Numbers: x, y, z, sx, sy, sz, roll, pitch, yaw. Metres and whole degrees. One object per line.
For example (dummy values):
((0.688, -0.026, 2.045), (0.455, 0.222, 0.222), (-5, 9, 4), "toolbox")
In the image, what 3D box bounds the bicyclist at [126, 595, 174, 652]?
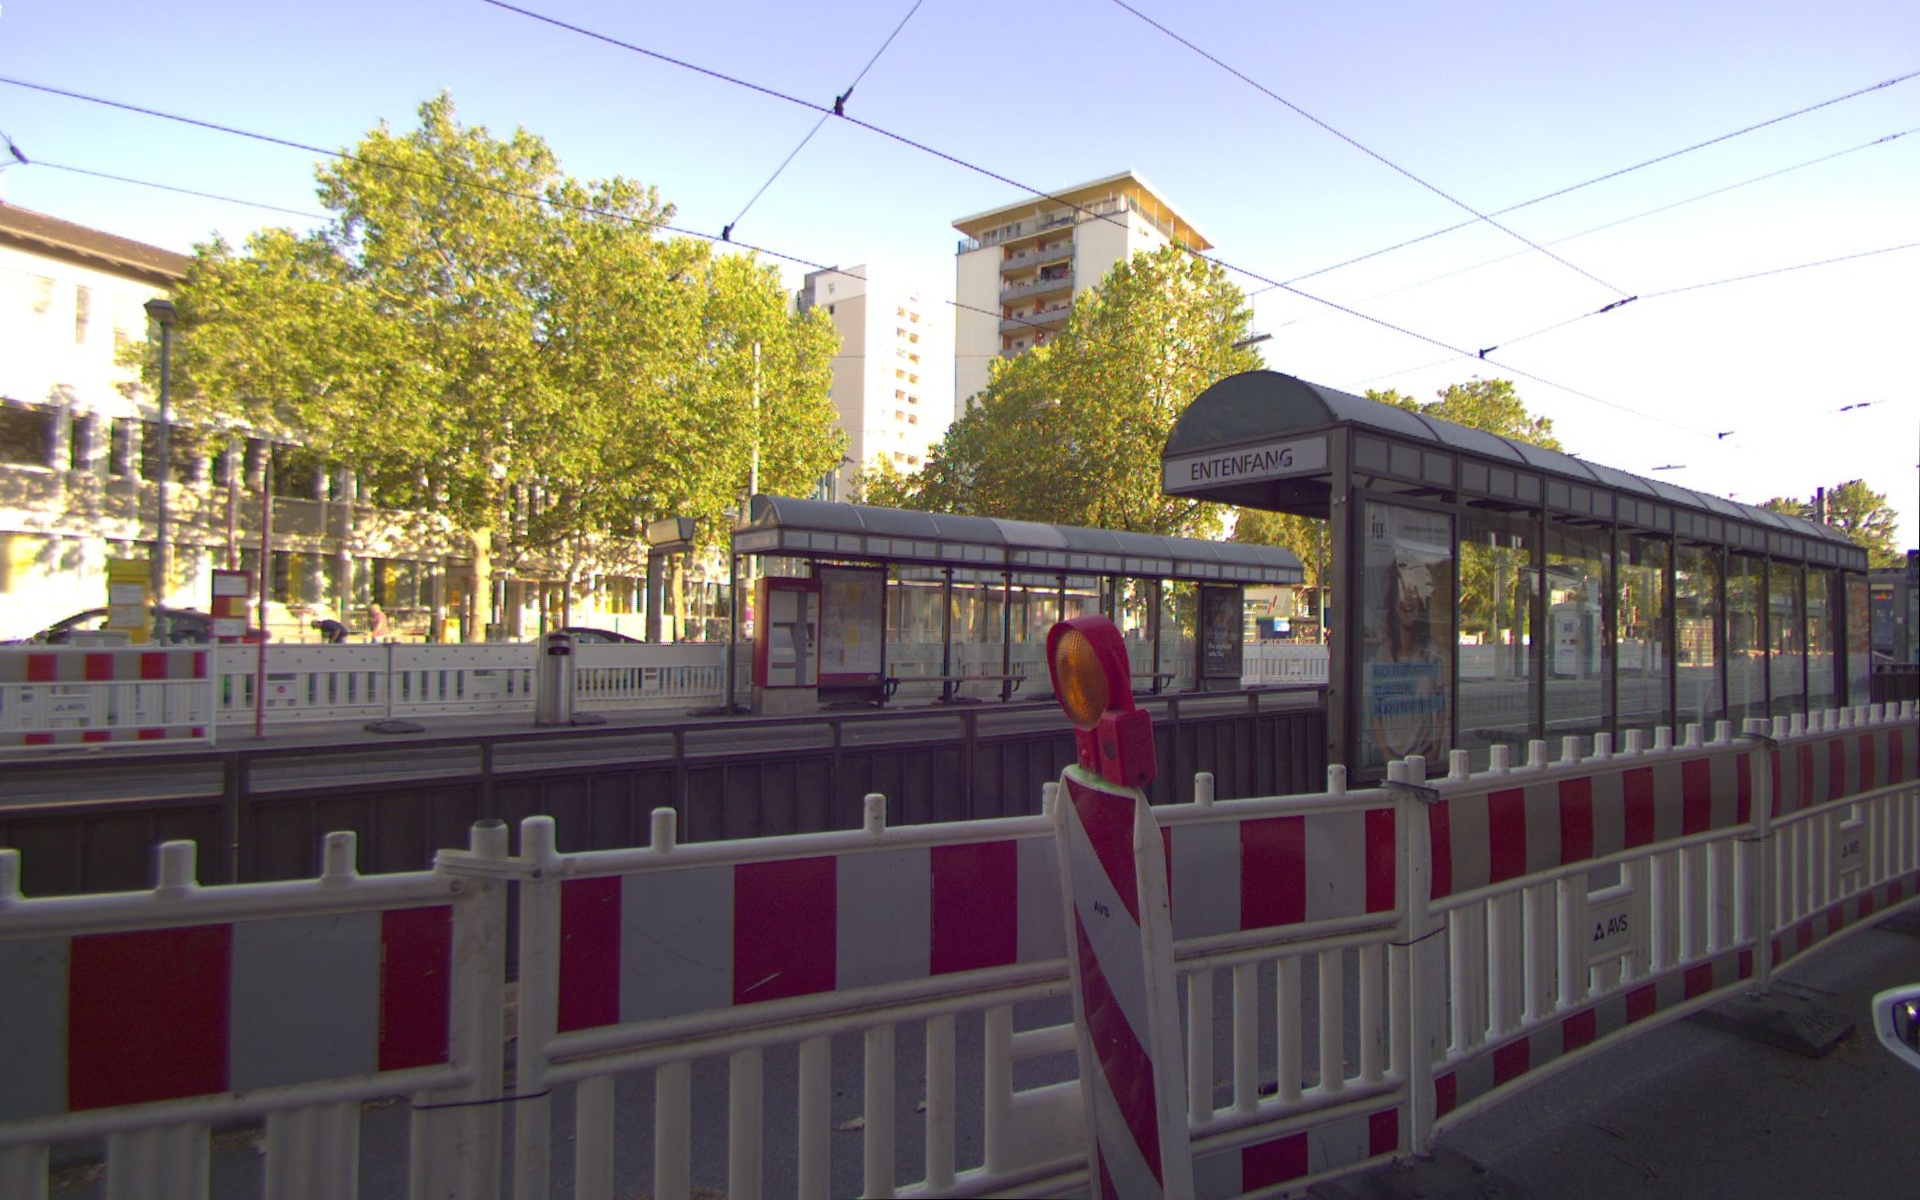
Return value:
((-22.323, 0.653, 27.695), (0.565, 1.547, 0.844), (0, -2, 29), "bicyclist")

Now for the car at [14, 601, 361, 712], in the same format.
((-13.039, 0.939, 17.385), (4.511, 1.683, 1.982), (2, -2, -34), "car")

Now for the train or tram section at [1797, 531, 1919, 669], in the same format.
((29.102, 0.146, 30.593), (11.656, 3.580, 2.668), (2, 0, -36), "train or tram section")

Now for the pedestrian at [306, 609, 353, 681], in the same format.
((-16.622, 1.184, 26.488), (0.921, 1.858, 0.691), (2, -2, -43), "pedestrian")

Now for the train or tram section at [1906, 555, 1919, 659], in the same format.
((38.387, 0.416, 37.494), (11.477, 3.606, 2.666), (2, 0, -38), "train or tram section")

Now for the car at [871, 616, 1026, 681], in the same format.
((-0.286, 1.341, 28.049), (3.959, 1.683, 1.901), (2, -2, -35), "car")

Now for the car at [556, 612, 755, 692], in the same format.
((-6.943, 1.164, 22.990), (3.958, 1.683, 1.982), (2, -2, -33), "car")

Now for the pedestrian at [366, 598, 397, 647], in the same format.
((-17.433, 0.683, 30.294), (0.576, 1.474, 0.584), (0, -1, 33), "pedestrian")
